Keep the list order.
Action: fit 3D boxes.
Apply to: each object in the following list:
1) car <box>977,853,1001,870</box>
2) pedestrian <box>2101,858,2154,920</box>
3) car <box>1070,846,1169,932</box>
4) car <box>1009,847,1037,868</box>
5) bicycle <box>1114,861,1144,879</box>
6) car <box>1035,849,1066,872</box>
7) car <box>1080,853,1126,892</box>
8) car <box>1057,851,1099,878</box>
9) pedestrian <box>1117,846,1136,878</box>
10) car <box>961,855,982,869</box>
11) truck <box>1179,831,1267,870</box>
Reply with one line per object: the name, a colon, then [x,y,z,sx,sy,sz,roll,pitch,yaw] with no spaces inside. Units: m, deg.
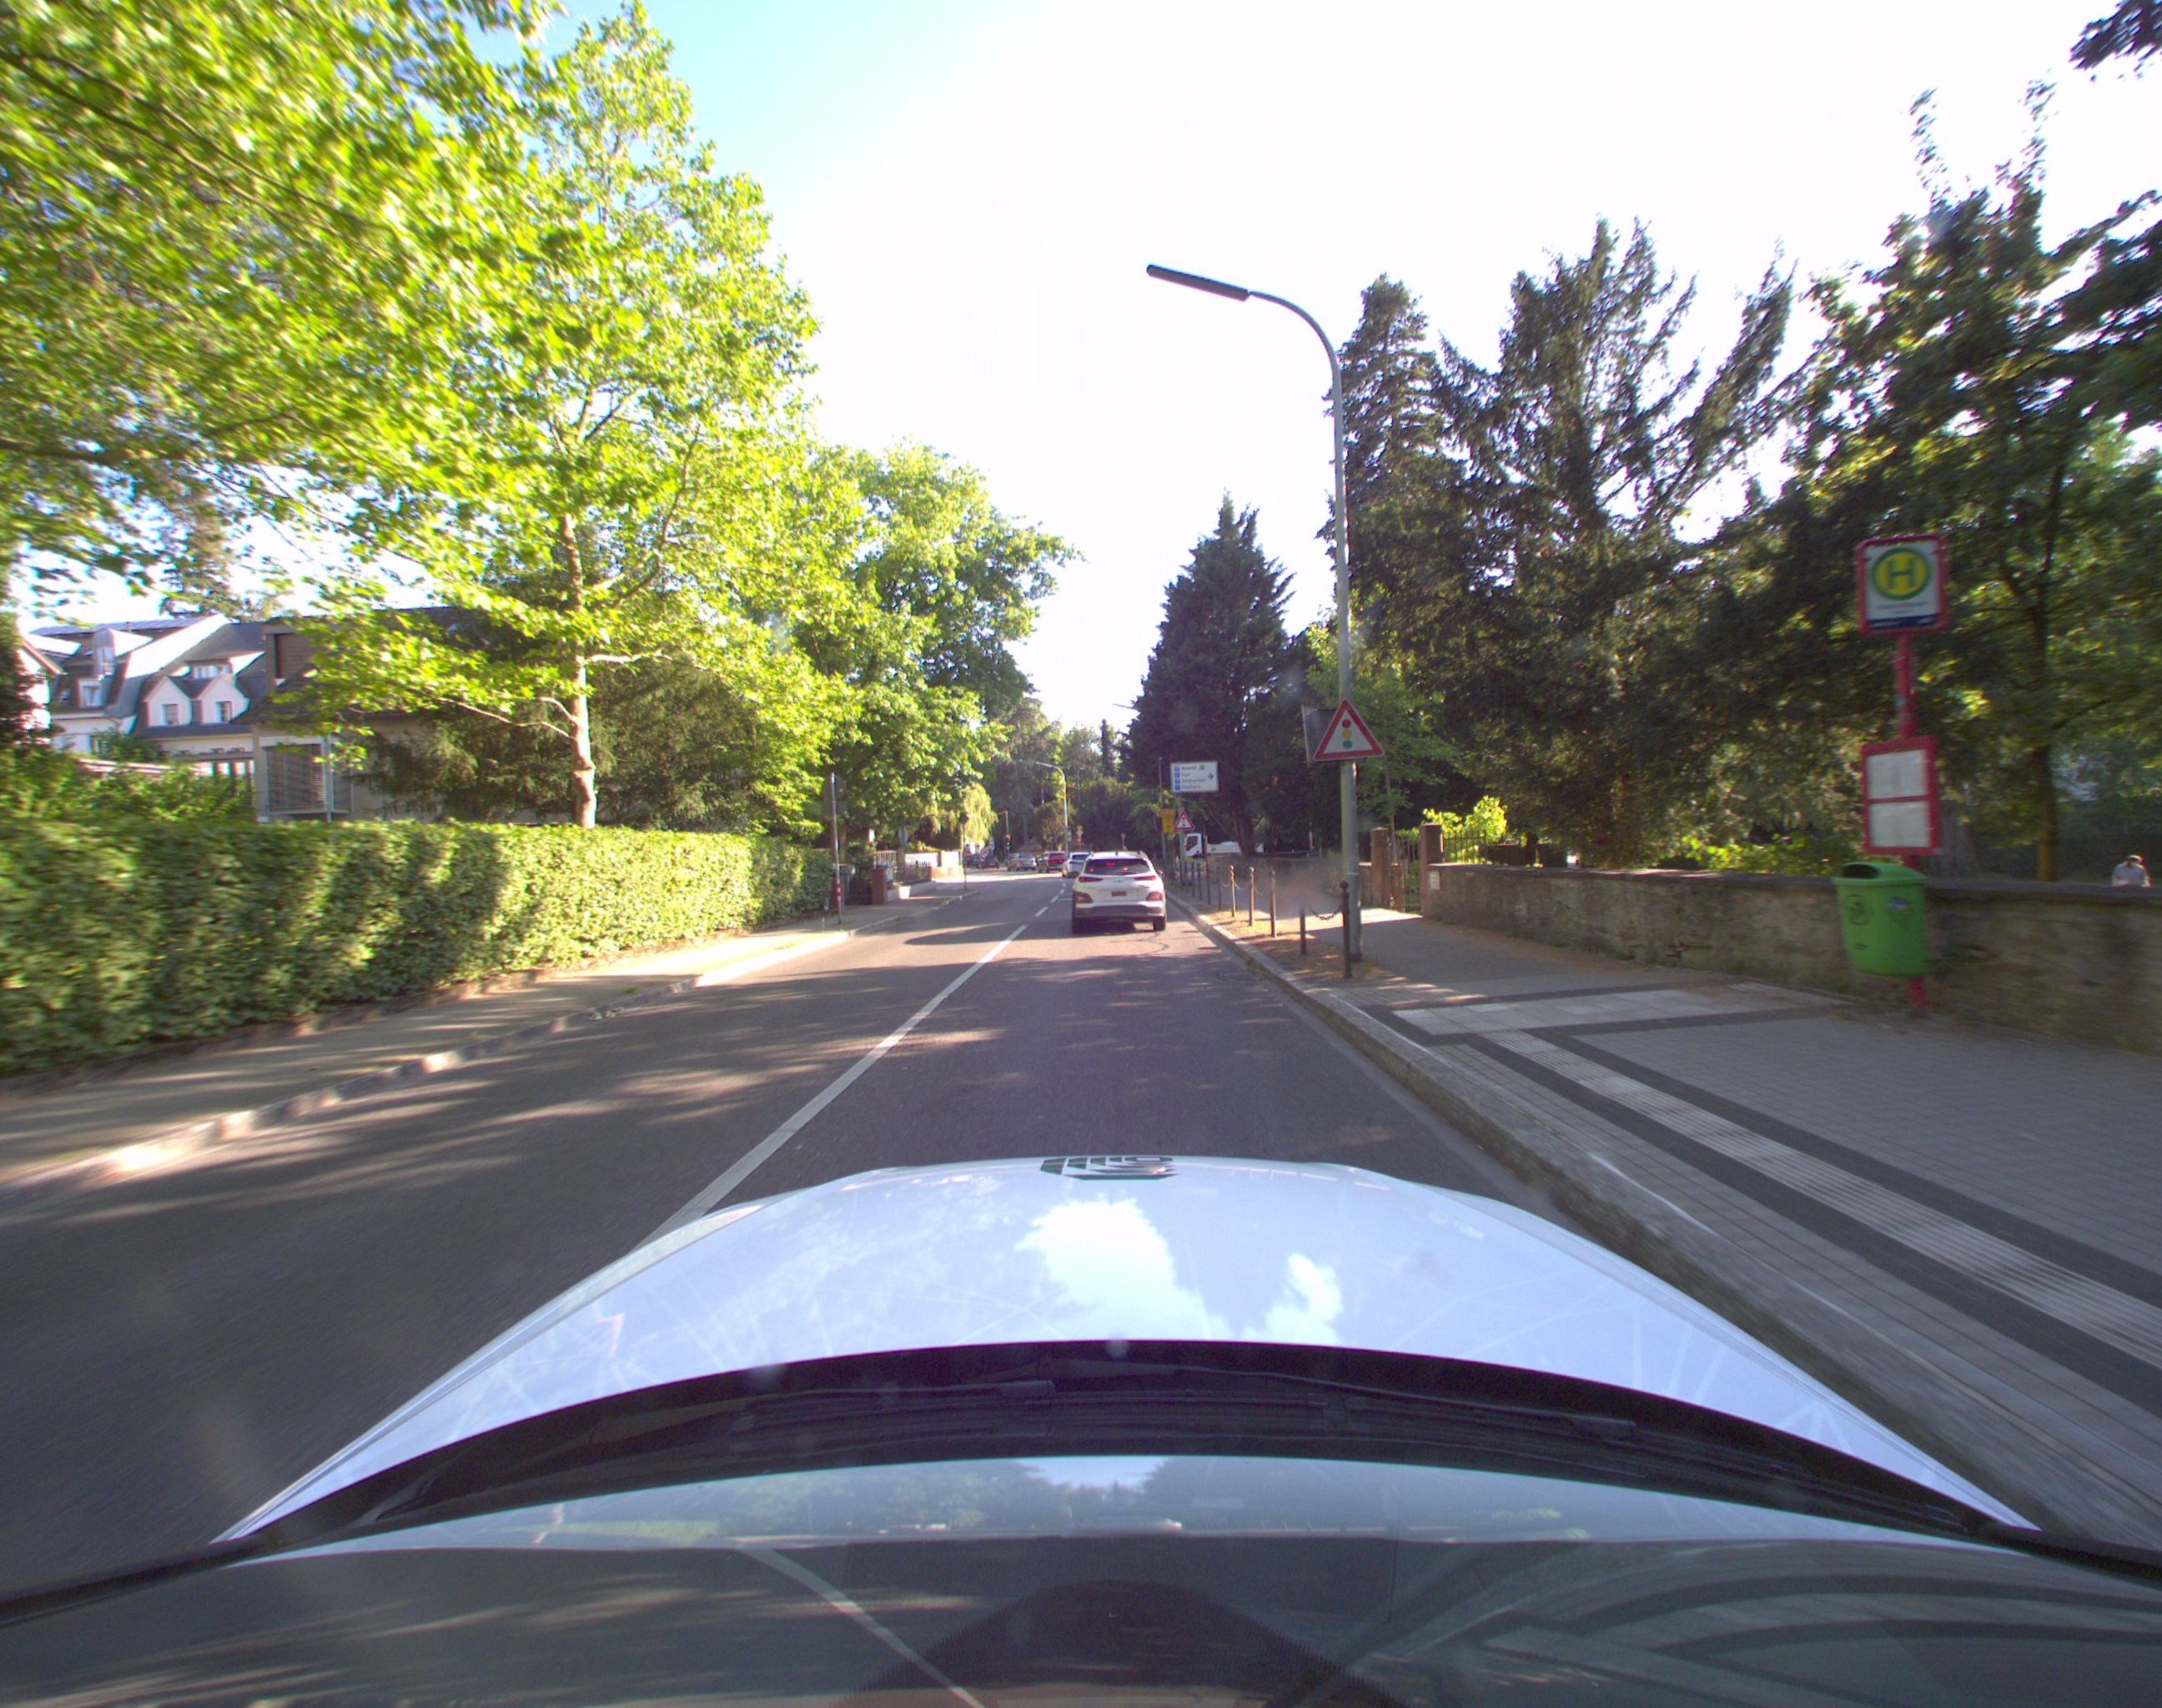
car: [-9.702,0.749,85.627,1.835,1.662,3.979,0,0,-16]
pedestrian: [28.120,0.930,21.893,0.612,1.640,0.637,0,0,3]
car: [0.753,0.639,17.118,1.814,1.574,4.001,-1,0,1]
car: [-5.166,0.306,71.767,1.834,1.740,3.981,0,0,-14]
bicycle: [2.813,0.926,47.613,1.826,1.043,0.555,-1,1,-36]
car: [-2.291,0.452,59.780,1.831,1.662,3.989,0,0,-8]
car: [0.891,0.691,32.903,1.701,1.434,4.366,0,0,1]
car: [-0.223,0.577,48.999,1.807,1.537,3.984,0,0,-12]
pedestrian: [2.623,0.442,47.151,0.947,1.826,0.548,0,2,-37]
car: [-13.090,0.911,97.101,1.836,1.662,3.977,0,0,-17]
truck: [10.855,-0.292,62.840,6.553,2.895,2.437,0,0,6]
